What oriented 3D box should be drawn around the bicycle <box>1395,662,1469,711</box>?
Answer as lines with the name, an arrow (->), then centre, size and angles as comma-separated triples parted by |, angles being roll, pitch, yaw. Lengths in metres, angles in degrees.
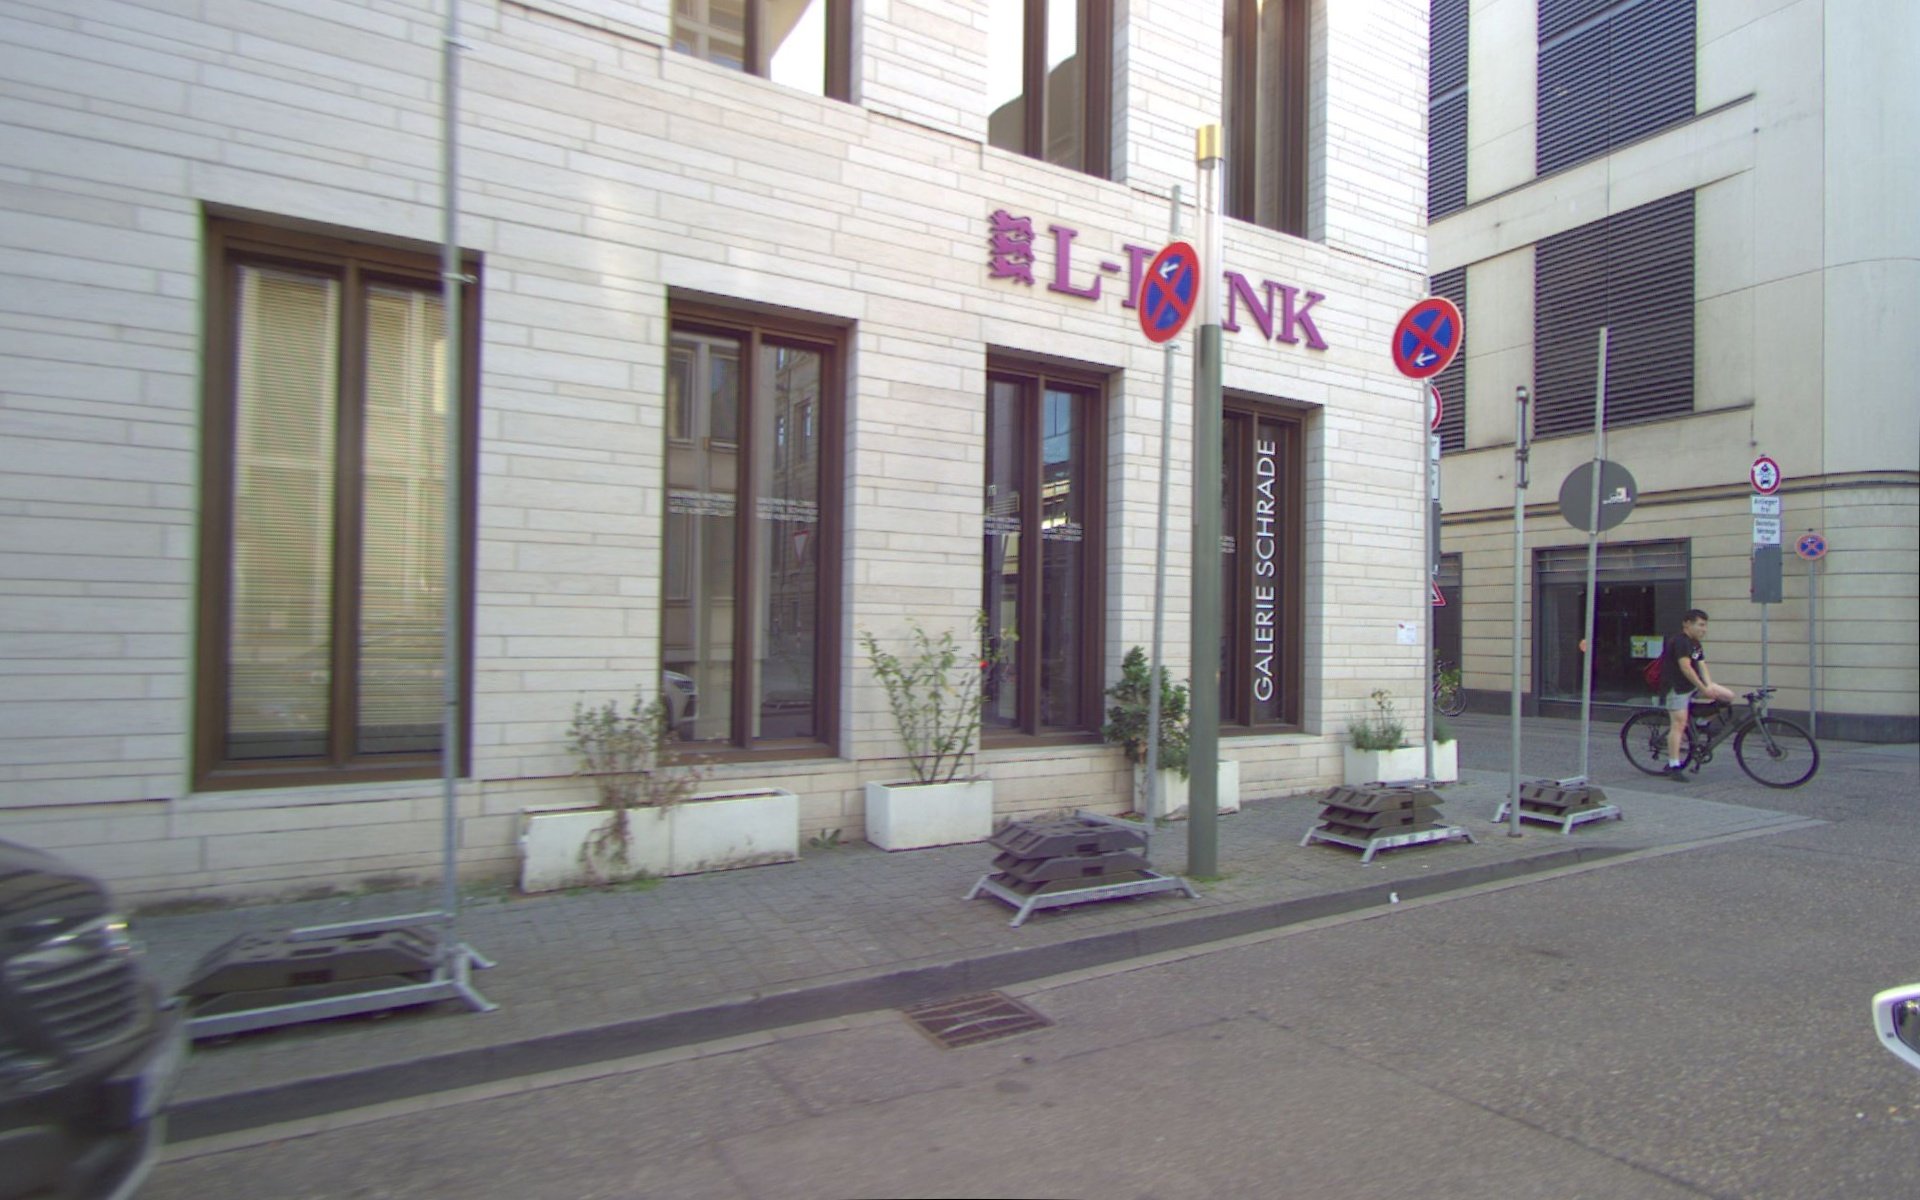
bicycle -> 10.219, 1.874, 21.751 | 1.491, 1.047, 0.352 | 1, -2, -8

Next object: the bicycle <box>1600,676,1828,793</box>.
bicycle -> 7.679, 1.332, 10.319 | 0.506, 0.986, 1.801 | 3, -1, -37

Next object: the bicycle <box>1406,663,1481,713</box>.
bicycle -> 10.279, 1.863, 21.369 | 1.491, 1.047, 0.352 | 1, -2, -8

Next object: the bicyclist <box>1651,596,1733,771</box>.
bicyclist -> 7.609, 0.847, 10.444 | 0.497, 1.754, 0.546 | 3, -1, -37

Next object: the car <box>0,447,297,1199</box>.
car -> -3.588, 0.615, 1.442 | 4.212, 1.699, 1.815 | 1, -4, -29
